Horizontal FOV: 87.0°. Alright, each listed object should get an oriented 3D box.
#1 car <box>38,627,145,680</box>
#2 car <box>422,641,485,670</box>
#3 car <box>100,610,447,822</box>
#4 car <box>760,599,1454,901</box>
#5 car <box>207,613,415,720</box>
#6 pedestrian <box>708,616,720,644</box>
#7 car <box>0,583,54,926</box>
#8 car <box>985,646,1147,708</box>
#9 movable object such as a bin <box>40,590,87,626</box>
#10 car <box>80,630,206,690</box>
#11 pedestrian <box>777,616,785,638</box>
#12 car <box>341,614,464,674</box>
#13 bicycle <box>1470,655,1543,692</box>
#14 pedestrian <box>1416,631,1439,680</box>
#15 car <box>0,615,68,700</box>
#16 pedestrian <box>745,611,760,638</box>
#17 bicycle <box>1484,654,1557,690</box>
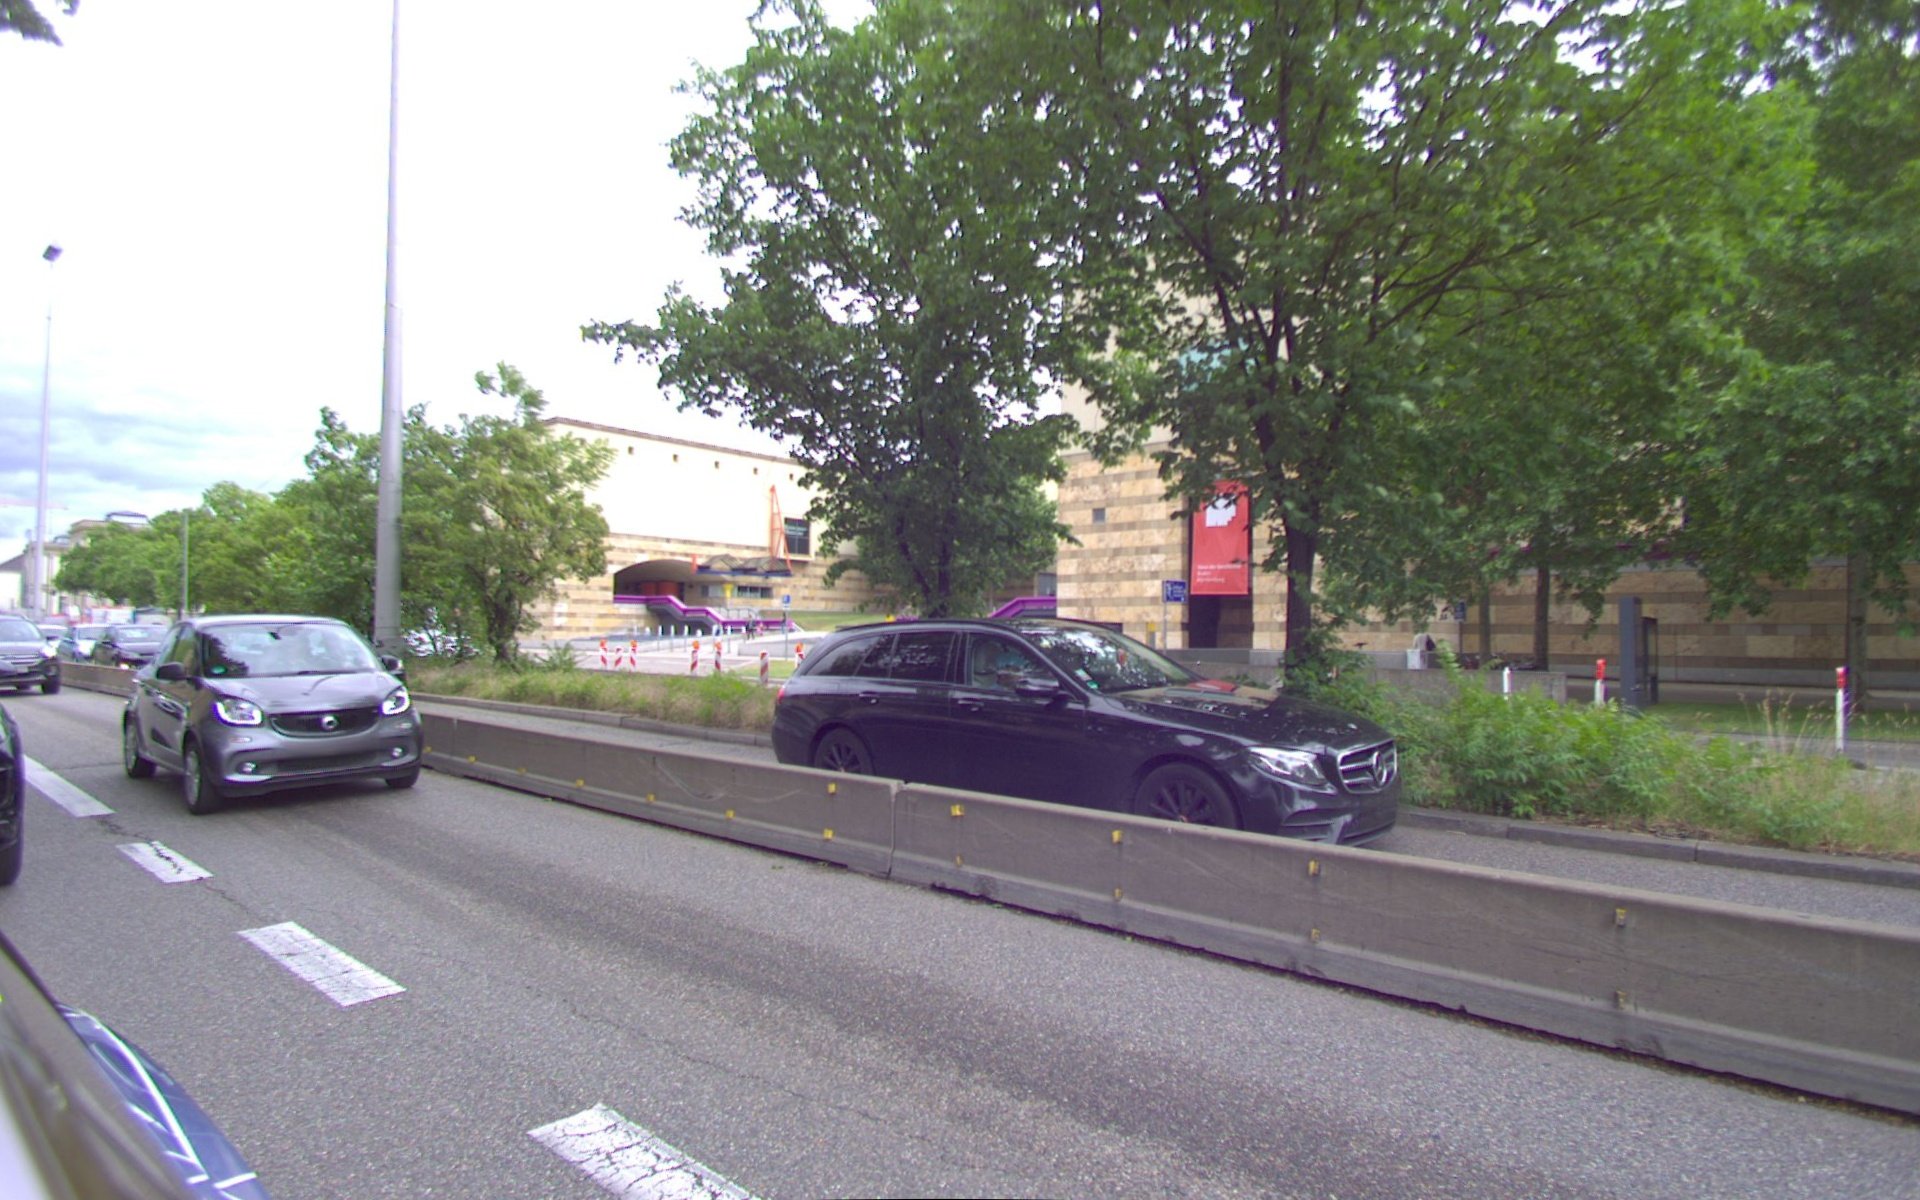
[{"bbox_3d":[-26.861,1.596,31.278,3.846,1.518,1.657,-1,-1,36],"label":"car"},{"bbox_3d":[-28.201,3.074,56.271,4.522,1.538,1.627,-2,-3,43],"label":"car"},{"bbox_3d":[-6.366,0.872,9.217,3.998,1.516,1.668,-1,-2,41],"label":"car"},{"bbox_3d":[0.763,0.803,7.328,4.766,1.511,1.797,-1,-2,41],"label":"car"},{"bbox_3d":[-11.635,1.084,17.985,4.935,1.648,1.903,-1,-2,42],"label":"car"},{"bbox_3d":[-16.525,2.007,68.110,0.683,1.867,0.805,-1,0,-7],"label":"pedestrian"},{"bbox_3d":[-6.831,0.767,5.478,4.190,1.670,1.887,-1,-2,34],"label":"car"},{"bbox_3d":[2.774,1.992,26.974,3.998,1.469,1.829,-2,-3,41],"label":"car"},{"bbox_3d":[-56.727,0.514,64.015,3.286,2.202,1.508,-2,-3,36],"label":"movable object such as a bin"},{"bbox_3d":[-21.807,1.534,26.971,4.190,1.465,1.644,-1,-2,37],"label":"car"},{"bbox_3d":[-13.038,1.949,73.726,0.405,1.623,0.343,-1,0,42],"label":"pedestrian"},{"bbox_3d":[-20.054,1.548,36.291,5.576,1.984,2.093,-2,-3,42],"label":"car"},{"bbox_3d":[16.318,2.171,30.253,0.483,1.002,1.847,-1,0,-43],"label":"bicycle"},{"bbox_3d":[15.392,1.813,33.311,0.620,1.581,0.434,-1,-3,34],"label":"pedestrian"},{"bbox_3d":[-20.176,1.157,21.184,3.997,1.668,1.669,-1,-2,40],"label":"car"},{"bbox_3d":[-14.556,1.681,70.863,0.803,1.867,0.684,-1,0,42],"label":"pedestrian"},{"bbox_3d":[16.942,2.165,30.627,0.559,0.998,1.847,-1,0,-43],"label":"bicycle"}]
